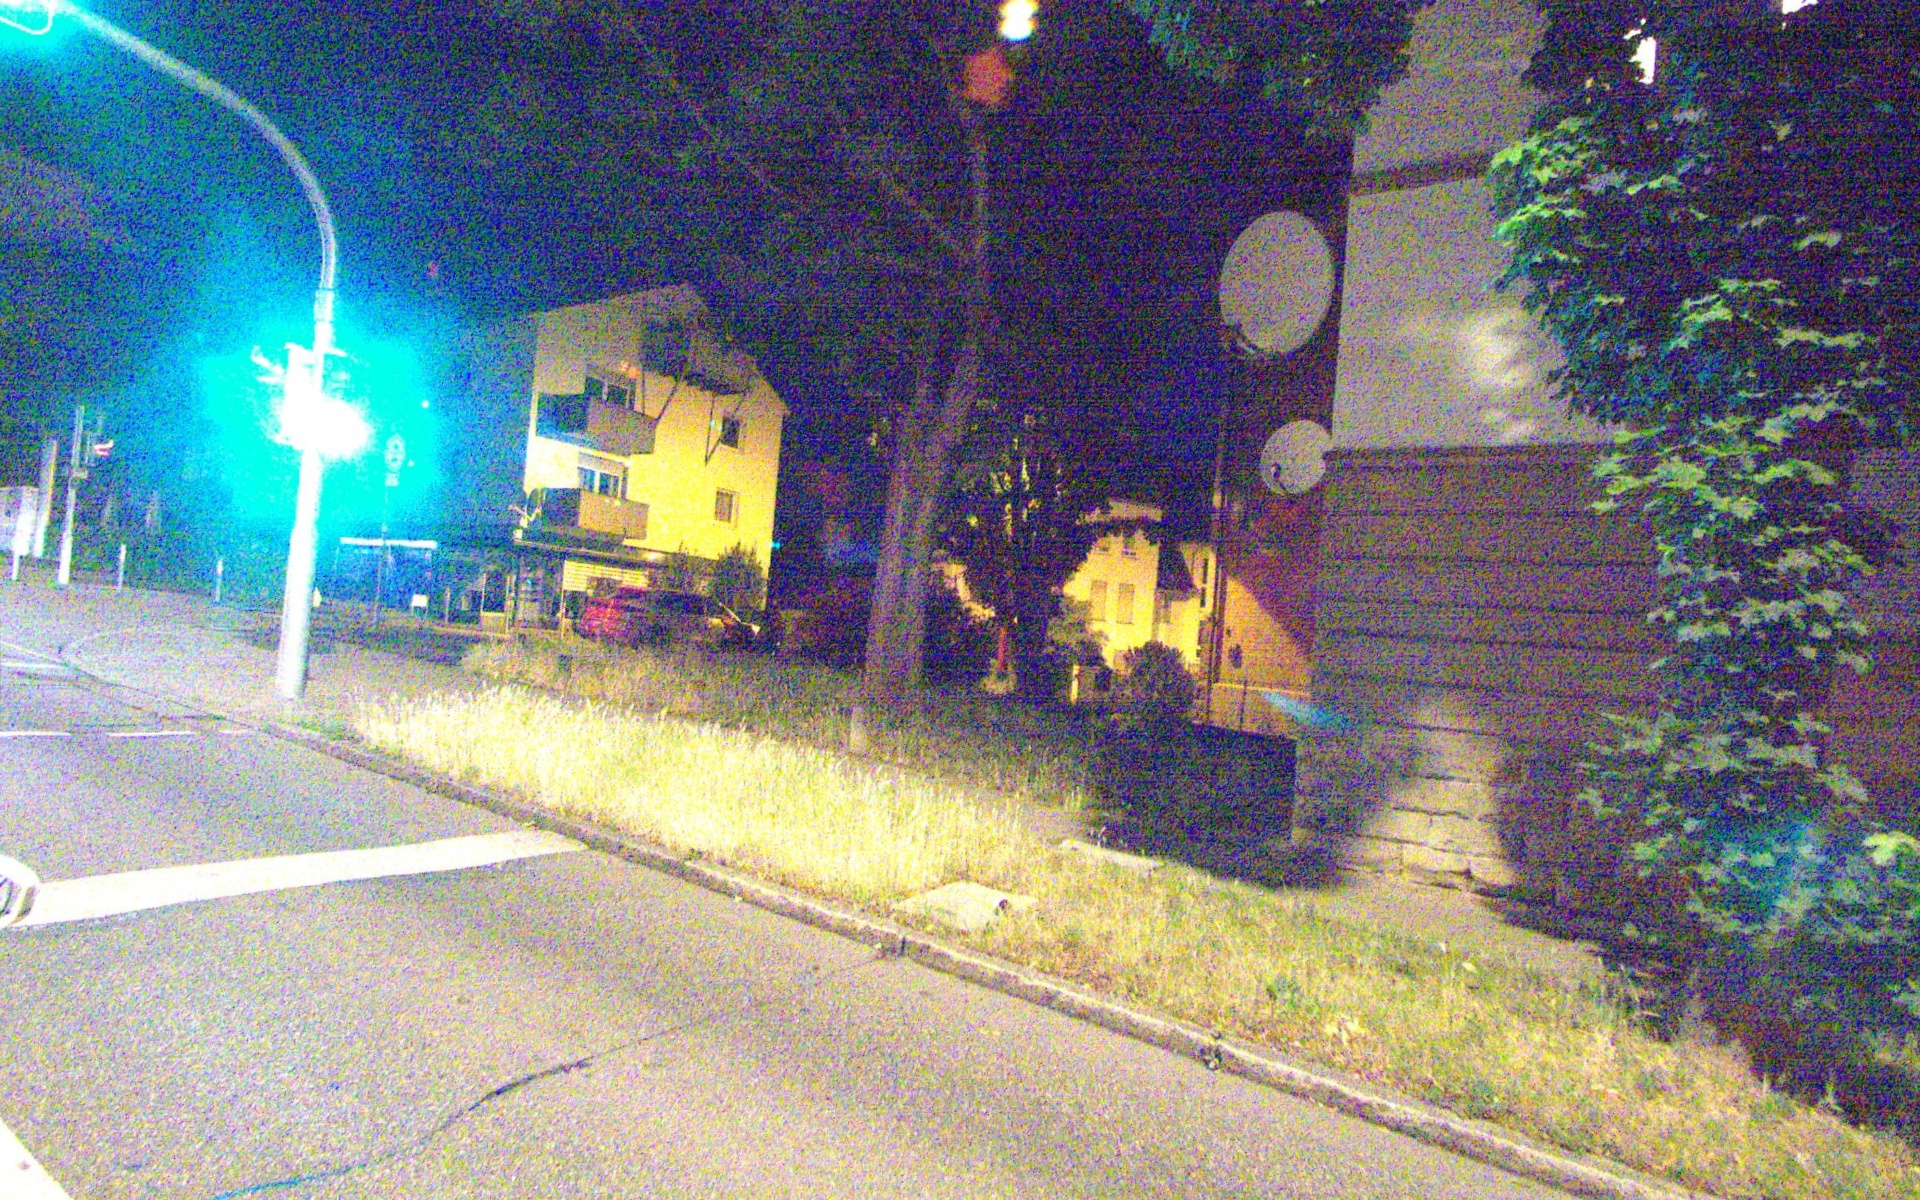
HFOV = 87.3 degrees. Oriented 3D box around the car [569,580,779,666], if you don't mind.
[{"bbox_3d":[-6.504,0.581,23.298,1.778,1.577,4.366,3,-3,38],"label":"car"}]
